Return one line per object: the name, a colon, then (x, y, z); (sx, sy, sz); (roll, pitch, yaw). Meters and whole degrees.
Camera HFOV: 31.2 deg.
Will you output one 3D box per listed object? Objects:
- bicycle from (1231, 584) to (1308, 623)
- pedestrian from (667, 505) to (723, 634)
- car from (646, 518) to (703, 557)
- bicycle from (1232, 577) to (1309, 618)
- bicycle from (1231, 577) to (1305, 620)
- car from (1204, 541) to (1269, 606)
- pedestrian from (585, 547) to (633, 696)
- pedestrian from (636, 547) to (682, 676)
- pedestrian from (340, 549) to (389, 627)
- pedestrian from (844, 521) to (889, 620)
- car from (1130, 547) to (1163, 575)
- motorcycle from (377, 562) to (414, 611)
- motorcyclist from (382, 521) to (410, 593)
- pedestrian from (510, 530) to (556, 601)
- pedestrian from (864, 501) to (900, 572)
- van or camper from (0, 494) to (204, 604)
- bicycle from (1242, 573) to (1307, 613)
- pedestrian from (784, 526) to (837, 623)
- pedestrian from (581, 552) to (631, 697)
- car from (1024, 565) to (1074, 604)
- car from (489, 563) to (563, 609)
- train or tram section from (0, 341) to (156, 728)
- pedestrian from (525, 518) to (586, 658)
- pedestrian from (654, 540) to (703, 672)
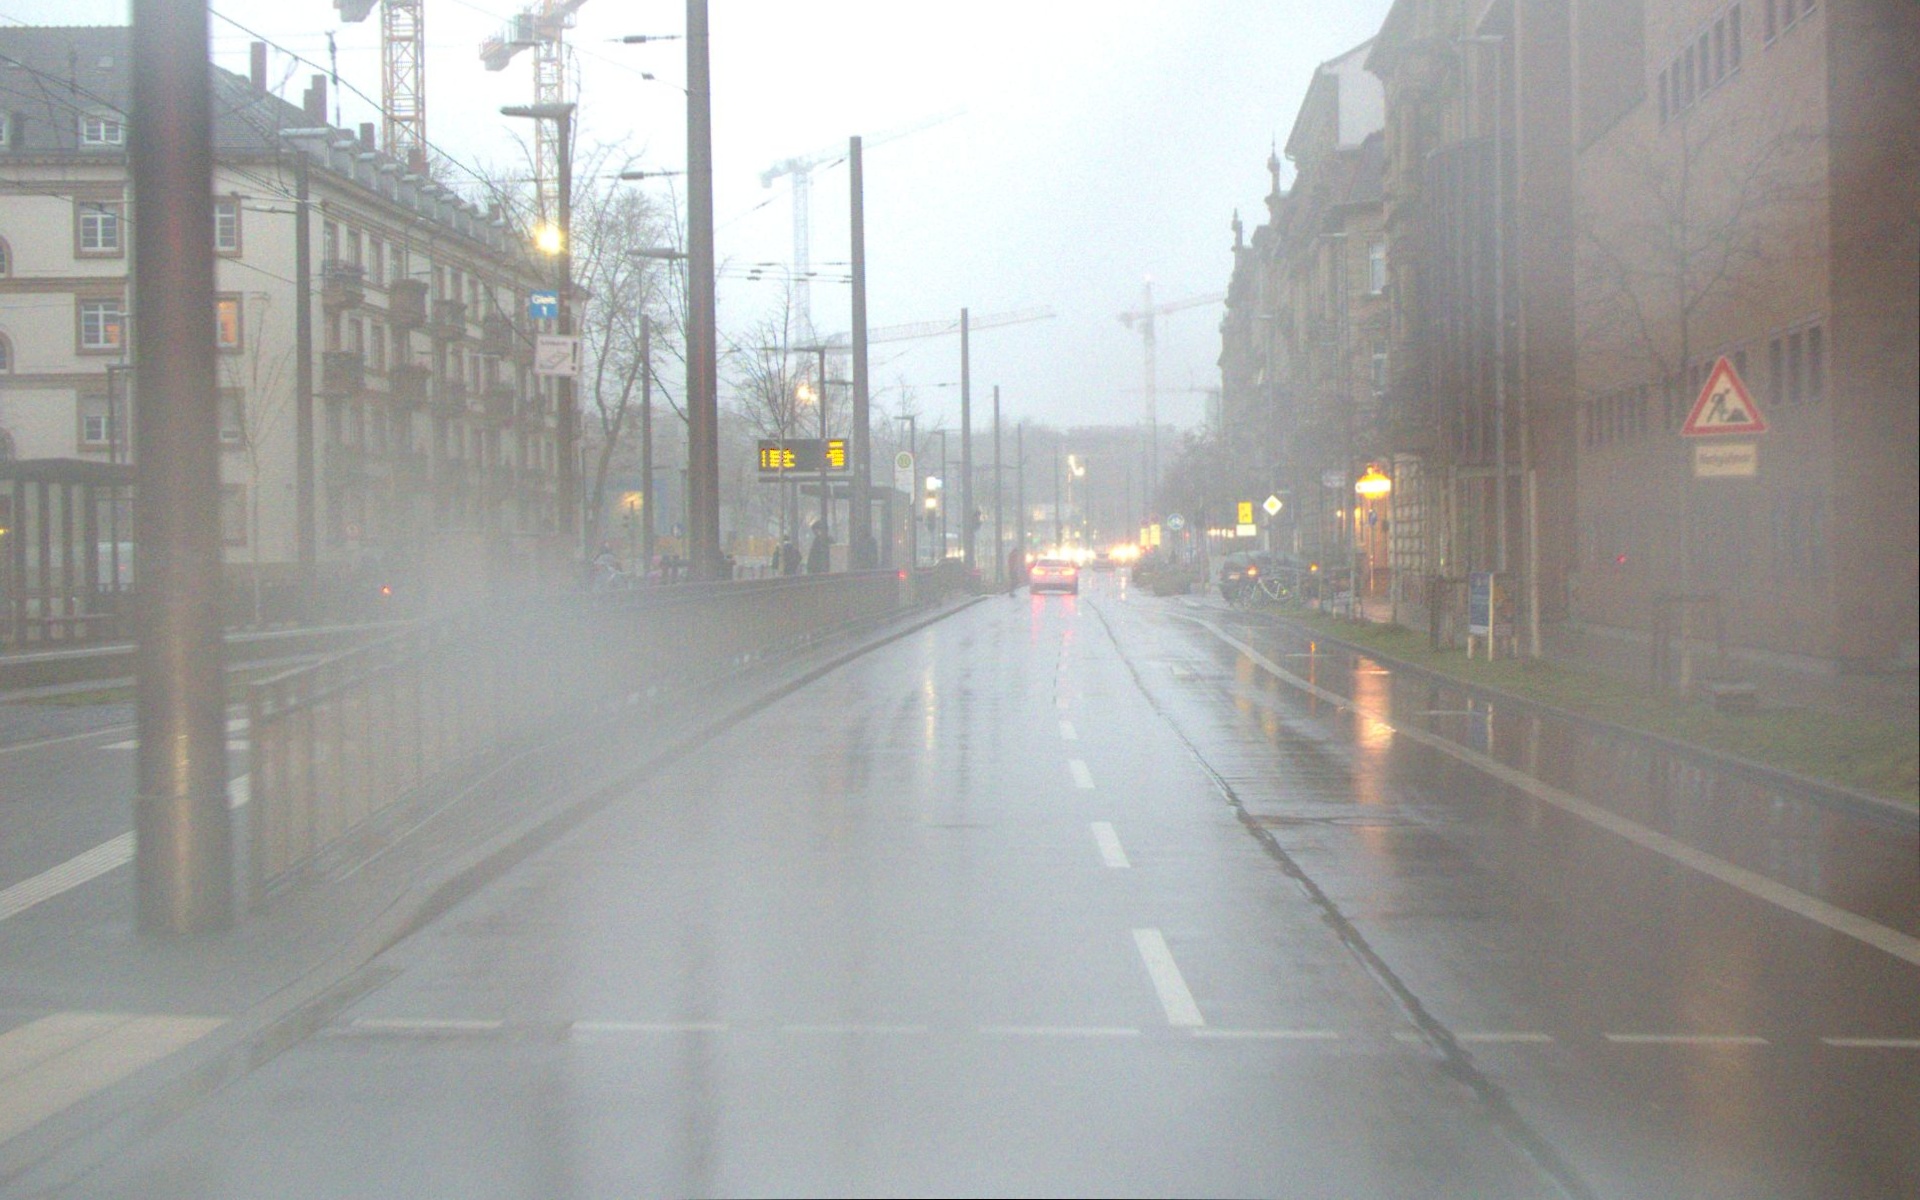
bicycle: (8.930, 0.110, 99.228); (2.144, 1.051, 0.484); (-2, 1, 1)
pedestrian: (-3.509, -0.403, 45.542); (0.645, 1.698, 0.568); (0, 1, -15)
car: (-10.329, -2.260, 124.454); (1.682, 1.349, 3.546); (0, 0, 1)
bicycle: (8.905, -0.081, 98.600); (2.144, 1.051, 0.425); (-3, 2, 2)
bicycle: (8.692, -0.048, 97.136); (2.008, 1.091, 0.425); (-3, 1, 1)
car: (8.817, -0.869, 109.822); (1.994, 2.007, 4.000); (-1, 1, 4)
pedestrian: (-3.962, 0.237, 38.835); (0.481, 1.673, 0.563); (0, 0, 0)
pedestrian: (-3.939, 0.145, 45.076); (0.540, 1.686, 0.643); (0, 0, 0)
pedestrian: (-11.693, -0.243, 67.464); (0.634, 1.519, 0.756); (0, 1, -39)
pedestrian: (-1.844, -0.586, 67.739); (0.809, 1.941, 0.804); (0, 1, 3)
car: (11.063, -2.309, 203.525); (1.799, 1.598, 3.769); (-1, 1, 5)
motorcycle: (-11.706, -0.286, 71.338); (0.512, 1.005, 1.807); (1, 1, -2)
motorcyclist: (-11.693, -0.889, 71.322); (0.499, 1.490, 0.556); (1, 1, -3)
pedestrian: (-10.781, -0.883, 86.805); (0.795, 1.774, 0.822); (0, 1, -39)
pedestrian: (-1.653, -1.346, 72.904); (0.679, 1.511, 0.619); (0, 1, -10)
van or camper: (-22.105, -1.304, 88.595); (2.774, 2.673, 6.751); (1, 1, 9)
bicycle: (8.740, -0.194, 95.501); (1.730, 1.051, 0.371); (-2, 1, 1)
pedestrian: (-2.635, -0.450, 60.583); (0.776, 1.698, 0.773); (0, 1, -16)
pedestrian: (-3.892, 0.266, 37.778); (0.481, 1.584, 0.563); (0, 0, 0)
car: (3.519, -0.612, 135.382); (1.784, 1.462, 3.148); (-1, 1, 4)
car: (-12.895, -0.423, 102.250); (1.682, 1.349, 3.546); (0, 0, 1)
train or tram section: (-10.307, -0.616, 31.252); (2.900, 3.556, 11.034); (1, 1, 3)
pedestrian: (-4.612, -0.137, 39.233); (0.618, 1.584, 0.622); (0, 0, 0)
pedestrian: (-3.409, 0.065, 41.634); (0.540, 1.584, 0.563); (0, 0, 0)
